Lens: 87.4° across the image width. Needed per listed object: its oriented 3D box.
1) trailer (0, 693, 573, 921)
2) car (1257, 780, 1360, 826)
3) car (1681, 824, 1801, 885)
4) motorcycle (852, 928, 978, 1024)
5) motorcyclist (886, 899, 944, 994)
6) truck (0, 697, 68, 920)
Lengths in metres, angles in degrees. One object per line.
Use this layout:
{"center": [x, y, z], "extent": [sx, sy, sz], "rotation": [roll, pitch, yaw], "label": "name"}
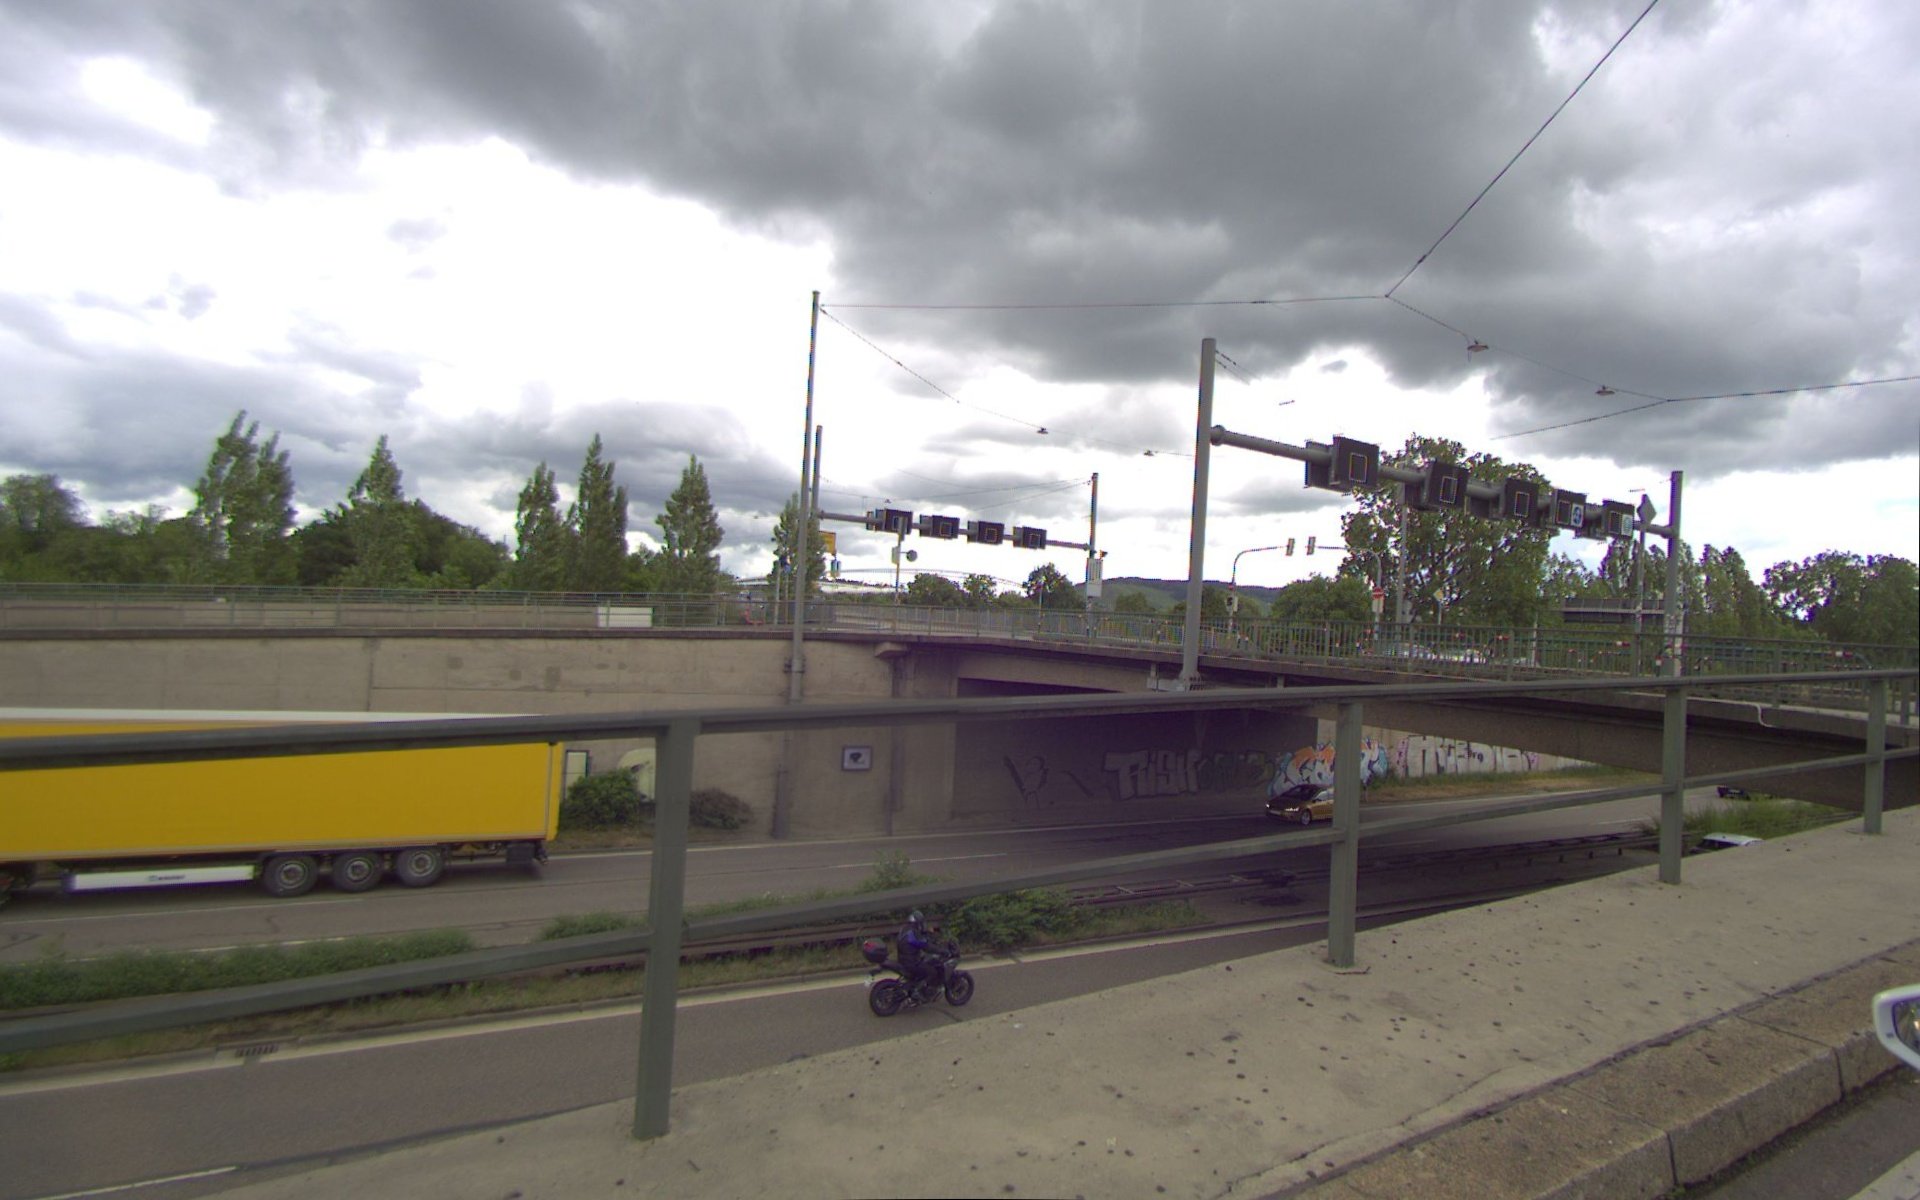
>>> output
{"center": [-16.560, 4.559, 23.463], "extent": [13.521, 4.317, 3.226], "rotation": [5, -3, -30], "label": "trailer"}
{"center": [14.618, 8.440, 42.059], "extent": [4.106, 1.476, 1.859], "rotation": [4, -3, -30], "label": "car"}
{"center": [26.303, 8.499, 33.801], "extent": [4.363, 1.440, 1.611], "rotation": [4, -3, -29], "label": "car"}
{"center": [-0.766, 6.486, 17.427], "extent": [2.101, 1.219, 0.591], "rotation": [4, -2, -29], "label": "motorcycle"}
{"center": [-0.775, 5.990, 17.417], "extent": [0.753, 1.389, 0.591], "rotation": [4, -1, -29], "label": "motorcyclist"}
{"center": [-22.298, 4.134, 20.161], "extent": [5.735, 4.236, 3.226], "rotation": [4, -3, -29], "label": "truck"}
